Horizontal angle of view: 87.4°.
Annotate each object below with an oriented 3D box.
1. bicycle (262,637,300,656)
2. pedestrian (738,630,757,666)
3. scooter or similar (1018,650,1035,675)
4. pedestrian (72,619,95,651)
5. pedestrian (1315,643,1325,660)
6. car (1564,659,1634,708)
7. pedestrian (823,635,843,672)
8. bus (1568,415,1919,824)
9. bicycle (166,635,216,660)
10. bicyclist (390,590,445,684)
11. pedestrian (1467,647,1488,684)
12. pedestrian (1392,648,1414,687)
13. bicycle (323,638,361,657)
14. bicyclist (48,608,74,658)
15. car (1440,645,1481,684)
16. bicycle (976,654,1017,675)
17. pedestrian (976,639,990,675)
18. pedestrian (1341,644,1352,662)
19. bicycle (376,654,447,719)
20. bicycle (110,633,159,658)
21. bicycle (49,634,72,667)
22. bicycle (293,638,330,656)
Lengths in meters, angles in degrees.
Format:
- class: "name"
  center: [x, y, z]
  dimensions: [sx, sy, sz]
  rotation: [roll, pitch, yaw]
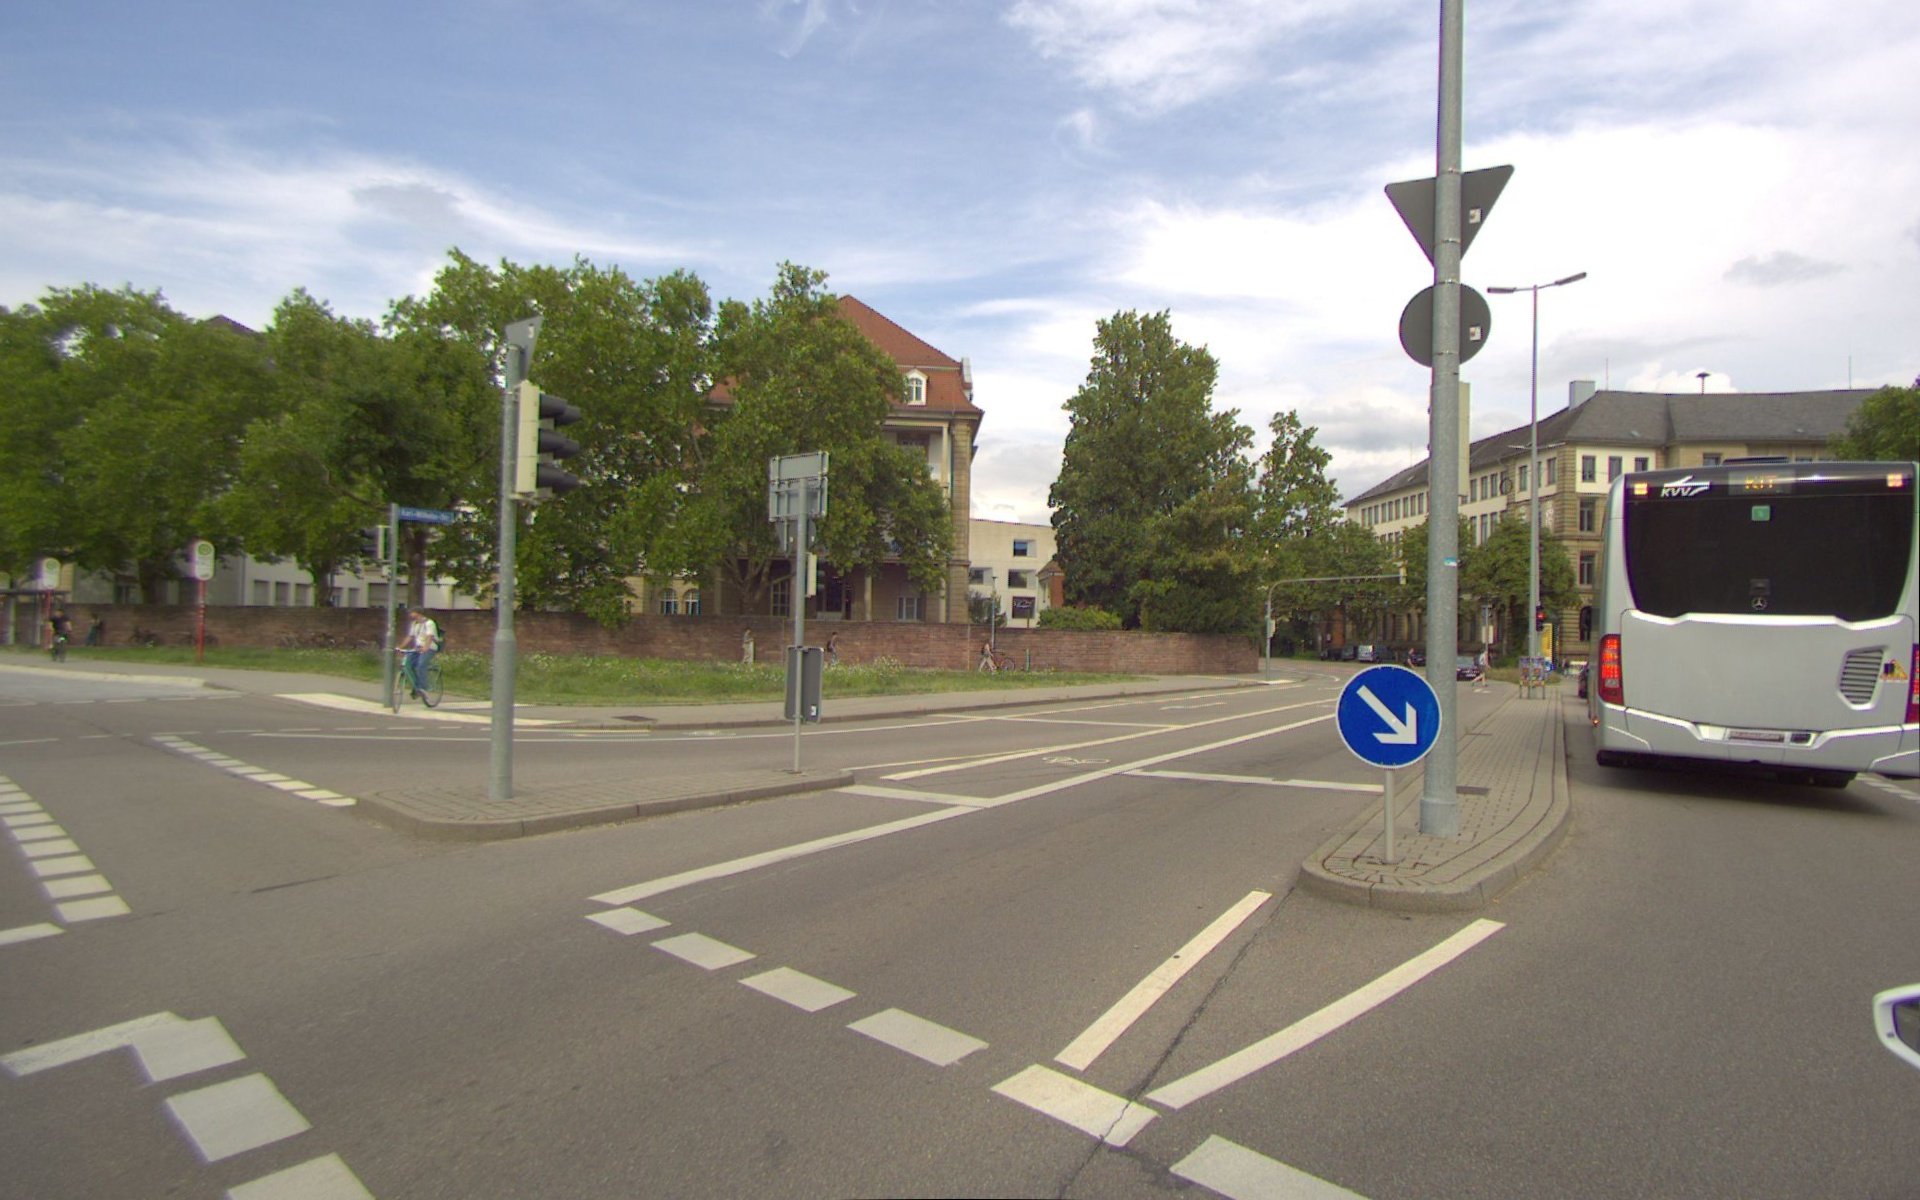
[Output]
- class: "bicycle"
  center: [-33.750, 2.311, 49.902]
  dimensions: [1.785, 0.875, 0.359]
  rotation: [0, -4, 11]
- class: "pedestrian"
  center: [-9.916, 2.233, 46.934]
  dimensions: [0.770, 1.677, 0.574]
  rotation: [0, 0, -21]
- class: "scooter or similar"
  center: [3.293, 3.107, 49.905]
  dimensions: [0.509, 1.154, 1.520]
  rotation: [0, 0, 17]
- class: "pedestrian"
  center: [-45.466, 1.825, 52.104]
  dimensions: [0.739, 1.643, 0.569]
  rotation: [0, 0, 12]
- class: "pedestrian"
  center: [42.767, 6.134, 119.413]
  dimensions: [0.872, 2.040, 1.010]
  rotation: [1, -2, 5]
- class: "car"
  center: [22.444, 2.877, 35.356]
  dimensions: [1.965, 1.380, 4.264]
  rotation: [0, 0, 32]
- class: "pedestrian"
  center: [-5.927, 2.500, 46.952]
  dimensions: [0.772, 1.677, 0.573]
  rotation: [0, 0, -26]
- class: "bus"
  center: [10.809, 0.574, 15.240]
  dimensions: [2.666, 3.483, 14.157]
  rotation: [1, -3, 31]
- class: "bicycle"
  center: [-38.702, 2.384, 50.570]
  dimensions: [2.056, 1.204, 0.759]
  rotation: [0, -4, 12]
- class: "bicyclist"
  center: [-9.411, 0.627, 17.449]
  dimensions: [0.570, 1.576, 0.796]
  rotation: [2, 0, -12]
- class: "pedestrian"
  center: [24.710, 3.118, 47.989]
  dimensions: [0.787, 1.734, 0.837]
  rotation: [0, 0, 36]
- class: "pedestrian"
  center: [20.758, 3.154, 47.105]
  dimensions: [0.787, 1.734, 0.837]
  rotation: [0, 0, 36]
- class: "bicycle"
  center: [-30.192, 2.333, 49.081]
  dimensions: [1.852, 0.875, 0.359]
  rotation: [0, -4, 15]
- class: "bicyclist"
  center: [-29.067, 1.057, 32.488]
  dimensions: [0.576, 1.576, 0.788]
  rotation: [2, 0, -42]
- class: "car"
  center: [29.311, 3.745, 58.879]
  dimensions: [1.962, 2.040, 3.997]
  rotation: [0, 0, 24]
- class: "bicycle"
  center: [1.791, 3.169, 49.501]
  dimensions: [1.892, 1.018, 0.778]
  rotation: [0, 0, -11]
- class: "pedestrian"
  center: [1.113, 2.757, 48.557]
  dimensions: [0.618, 1.677, 0.531]
  rotation: [0, 0, -6]
- class: "pedestrian"
  center: [43.623, 6.012, 113.465]
  dimensions: [0.872, 2.040, 1.010]
  rotation: [1, -2, 5]
- class: "bicycle"
  center: [-9.436, 1.467, 17.351]
  dimensions: [0.497, 0.948, 1.967]
  rotation: [2, 0, -12]
- class: "bicycle"
  center: [-42.339, 2.320, 51.493]
  dimensions: [2.056, 1.204, 0.759]
  rotation: [0, -4, 12]
- class: "bicycle"
  center: [-29.113, 1.633, 32.500]
  dimensions: [0.502, 0.948, 1.947]
  rotation: [2, 0, -42]
- class: "bicycle"
  center: [-31.979, 2.322, 49.536]
  dimensions: [1.773, 0.875, 0.359]
  rotation: [0, -4, 13]
